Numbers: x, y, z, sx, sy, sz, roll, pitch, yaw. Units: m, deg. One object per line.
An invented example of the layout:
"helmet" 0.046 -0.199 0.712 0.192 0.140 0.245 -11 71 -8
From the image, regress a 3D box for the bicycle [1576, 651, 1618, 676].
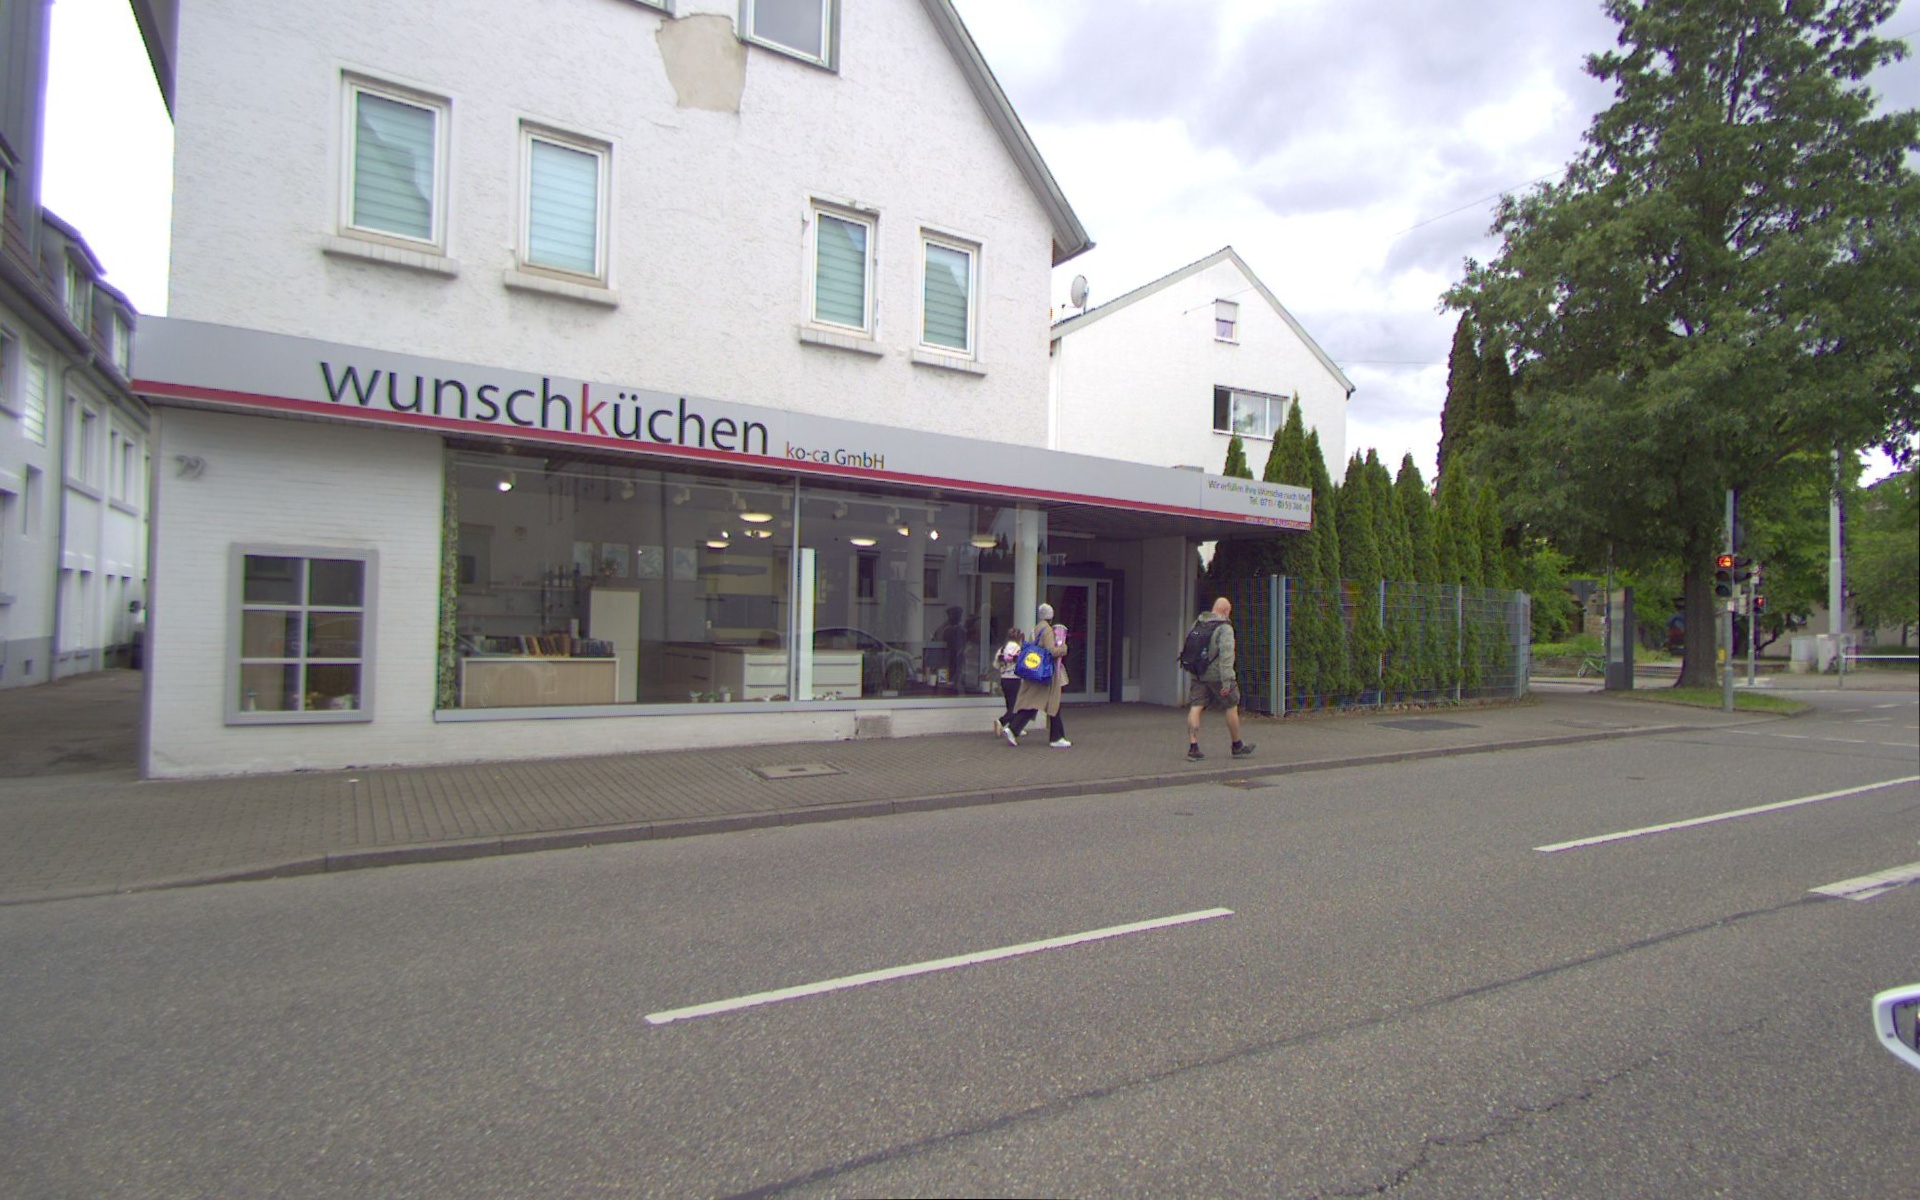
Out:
"bicycle" 24.691 2.482 38.950 0.421 0.954 1.304 2 -4 -37

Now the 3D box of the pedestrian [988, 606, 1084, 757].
"pedestrian" 0.871 0.901 11.488 0.860 1.627 0.634 2 0 -41

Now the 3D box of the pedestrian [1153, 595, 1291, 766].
"pedestrian" 2.891 0.854 11.098 1.215 1.777 0.817 2 0 -30

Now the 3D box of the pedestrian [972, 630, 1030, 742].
"pedestrian" 0.487 0.999 11.904 0.546 1.278 0.378 2 0 -41
